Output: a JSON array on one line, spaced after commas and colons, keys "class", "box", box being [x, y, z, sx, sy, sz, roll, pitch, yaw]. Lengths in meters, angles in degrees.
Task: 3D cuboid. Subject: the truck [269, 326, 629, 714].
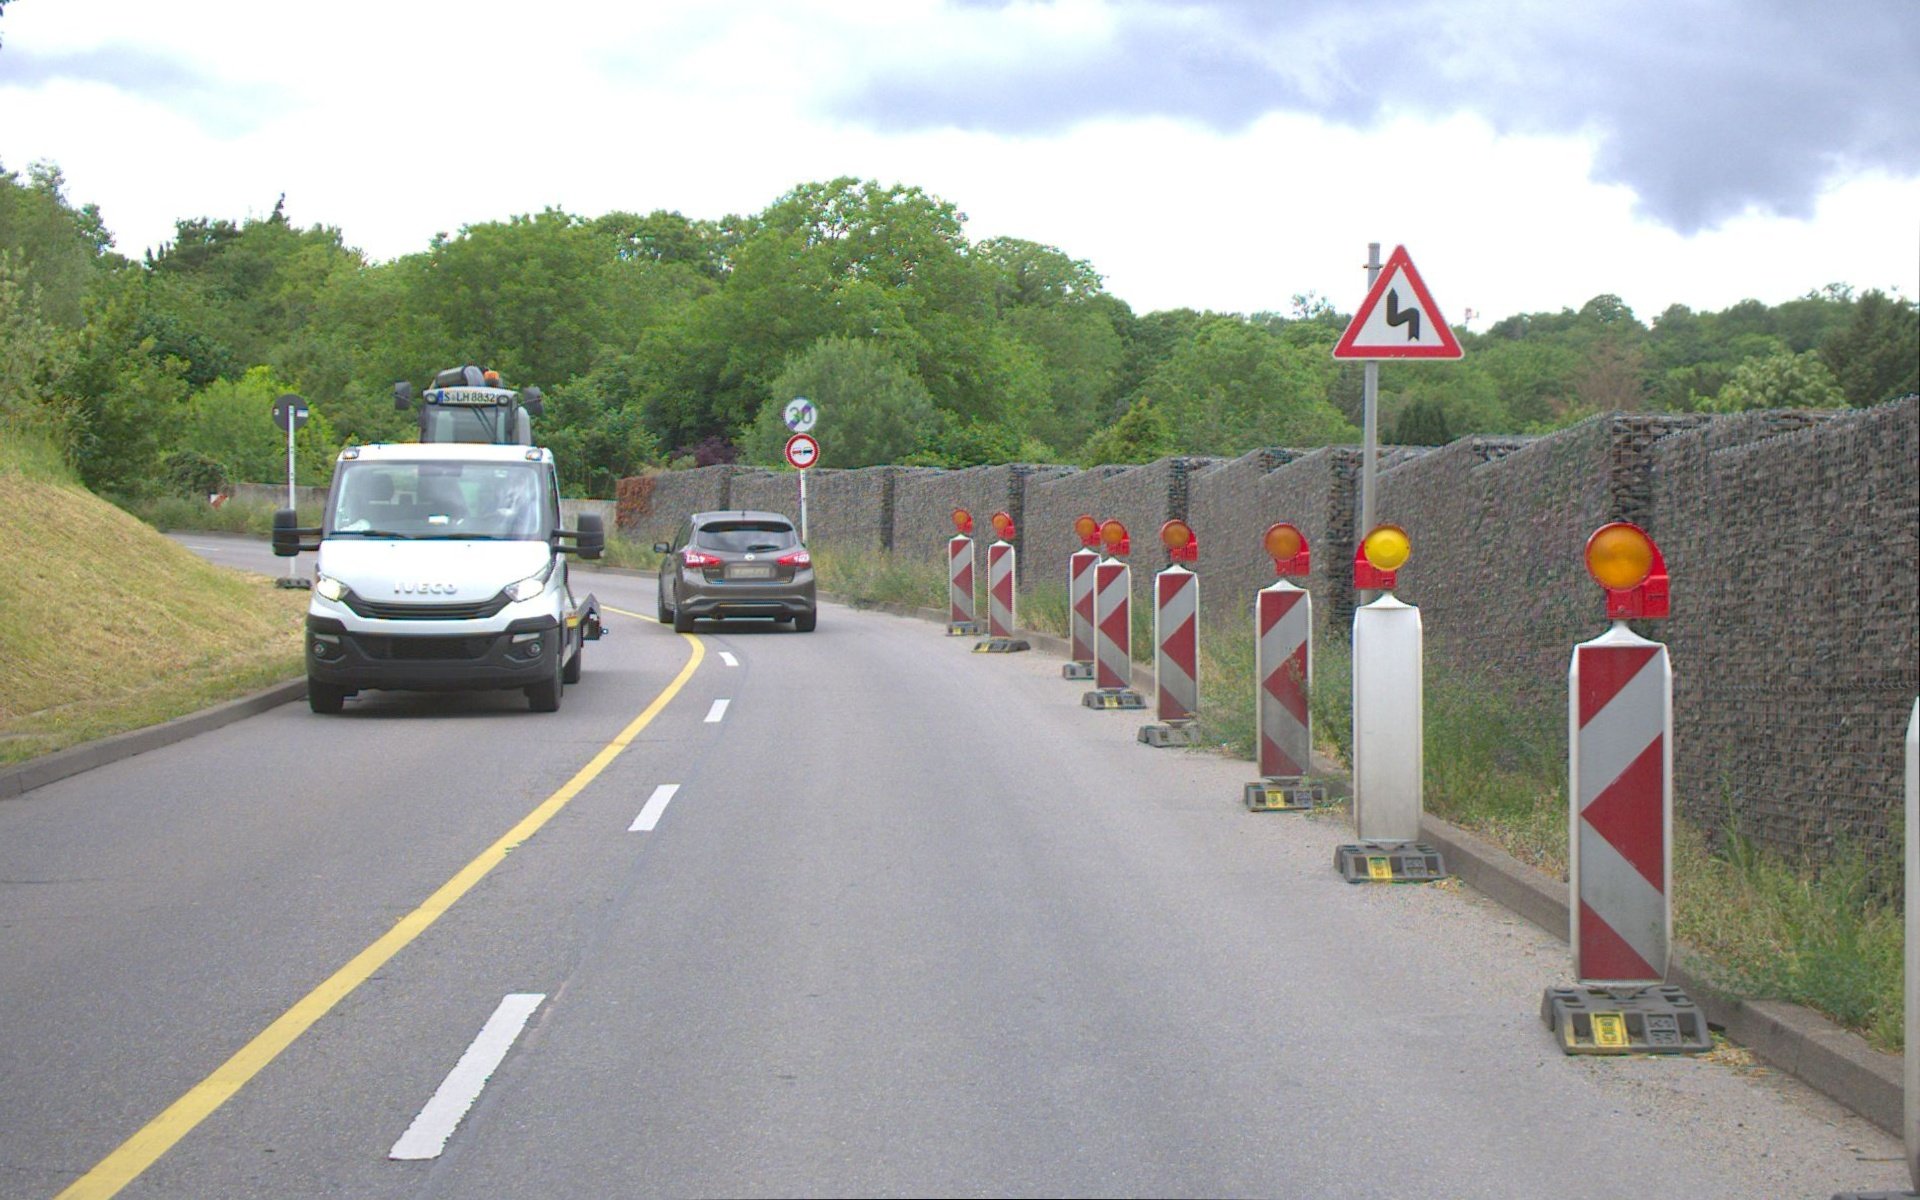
[{"class": "truck", "box": [-4.327, -0.714, 30.510, 2.215, 3.004, 7.740, 0, 1, -1]}]

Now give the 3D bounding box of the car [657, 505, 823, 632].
[{"class": "car", "box": [-2.881, -0.449, 44.328, 1.839, 1.478, 4.001, -1, 2, -7]}]
